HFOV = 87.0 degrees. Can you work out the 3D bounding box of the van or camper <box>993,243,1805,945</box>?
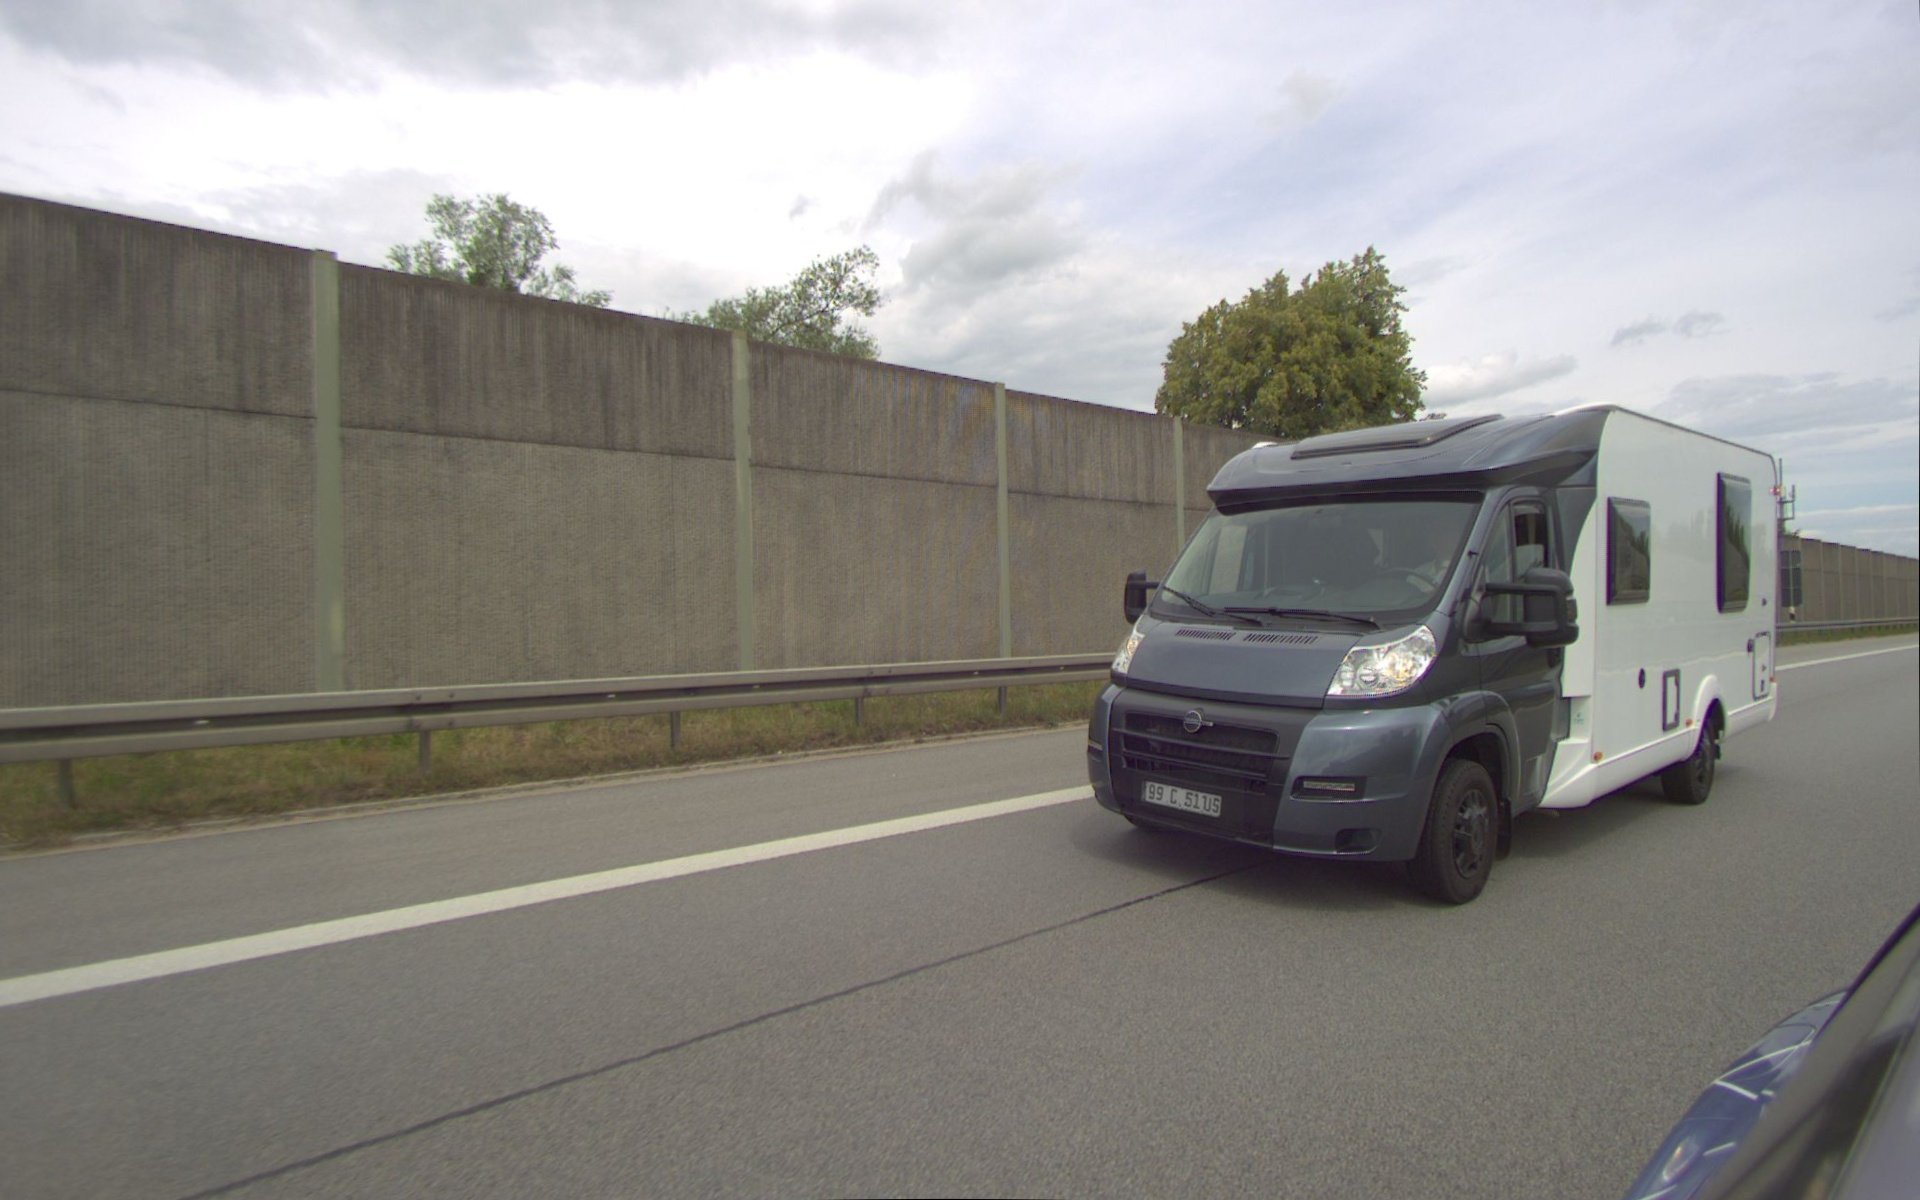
[{"bbox_3d":[3.664,-0.031,7.184,7.098,2.731,2.433,0,0,-41],"label":"van or camper"}]
